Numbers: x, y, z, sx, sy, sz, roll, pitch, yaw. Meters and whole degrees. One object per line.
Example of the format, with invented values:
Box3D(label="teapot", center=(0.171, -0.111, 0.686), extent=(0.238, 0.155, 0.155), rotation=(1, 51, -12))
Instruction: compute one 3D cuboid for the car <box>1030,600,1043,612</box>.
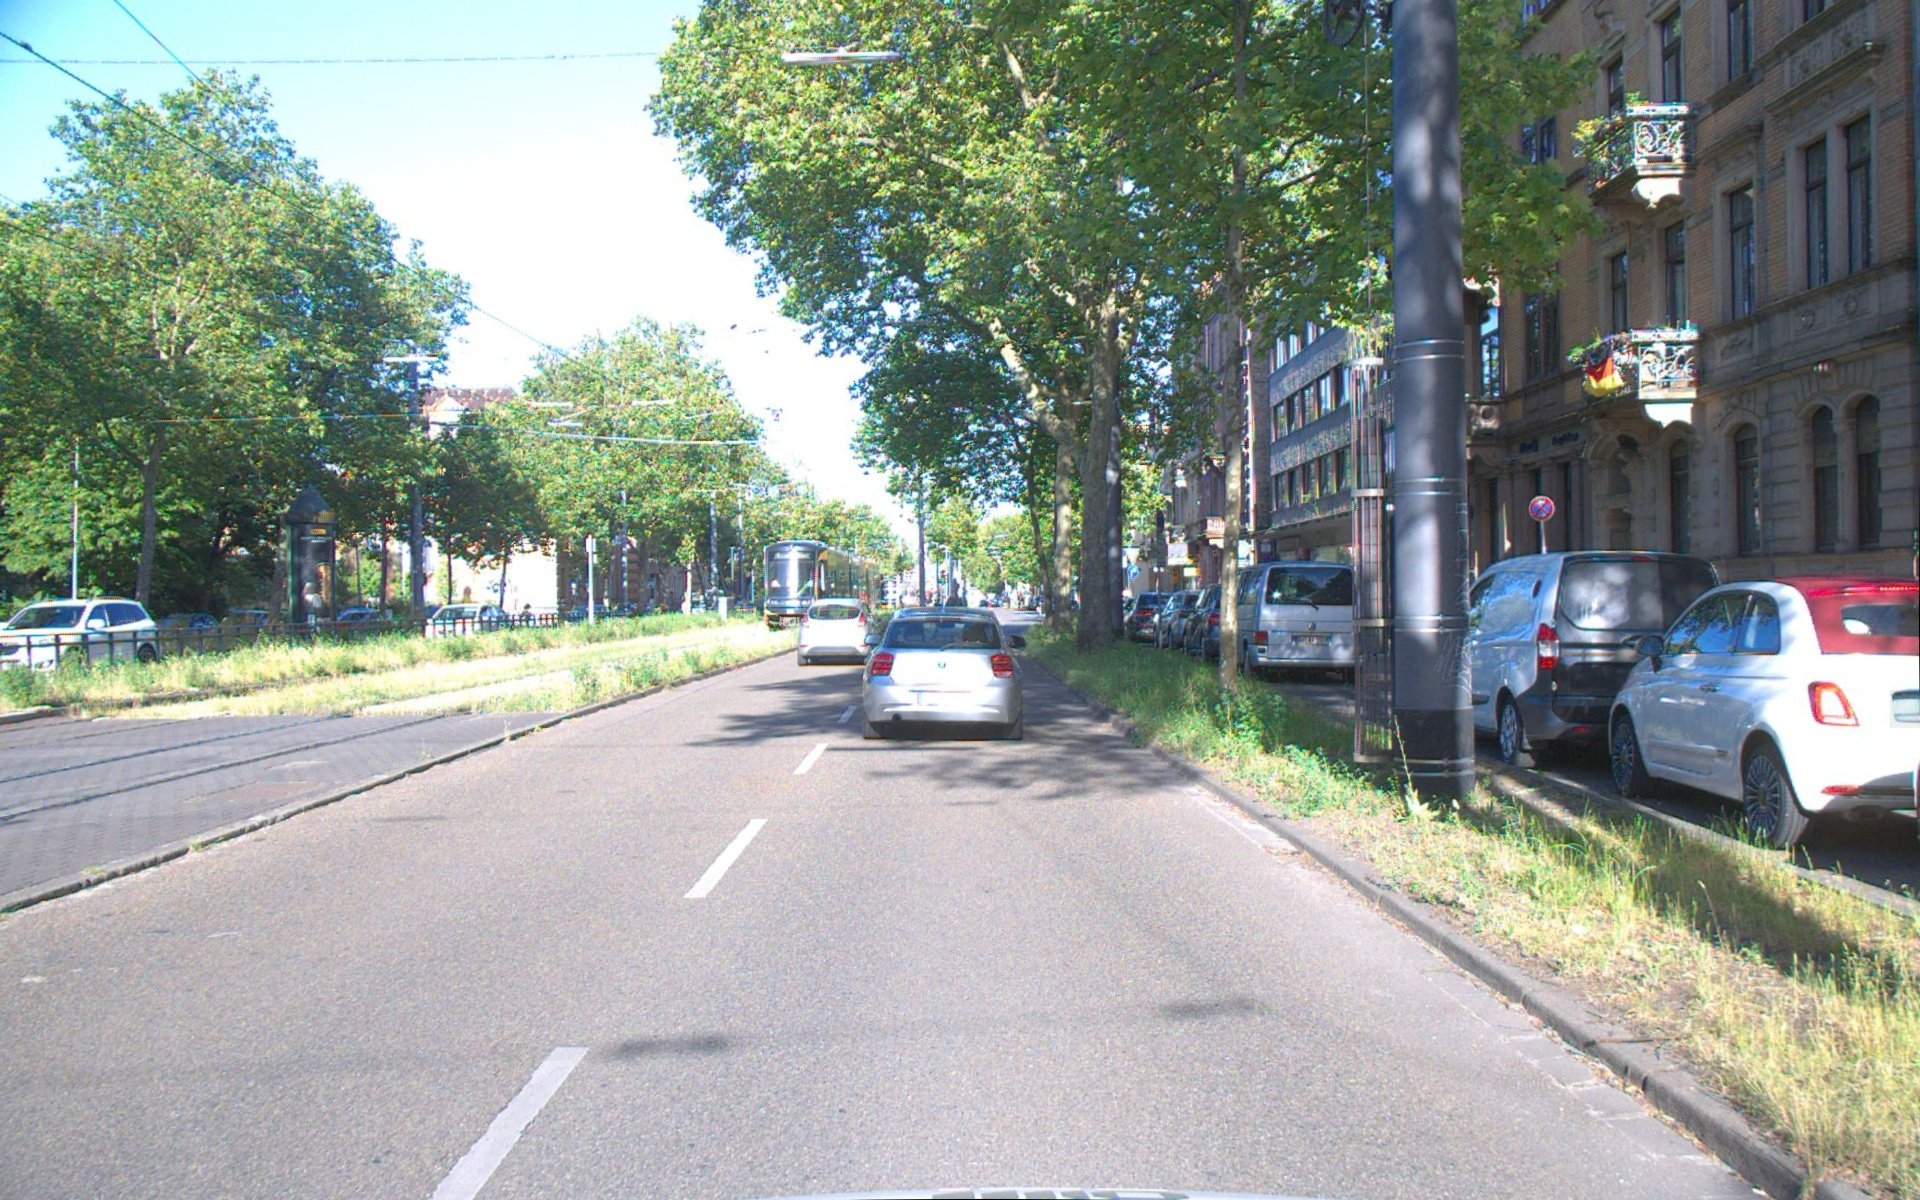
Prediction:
Box3D(label="car", center=(10.565, 0.800, 229.703), extent=(1.665, 1.561, 3.717), rotation=(1, 1, 1))

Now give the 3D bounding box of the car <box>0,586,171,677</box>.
Box3D(label="car", center=(-17.859, 0.568, 33.199), extent=(1.847, 1.648, 4.598), rotation=(1, 1, 0))

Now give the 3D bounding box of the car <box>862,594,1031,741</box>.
Box3D(label="car", center=(-0.138, 0.696, 19.121), extent=(1.726, 1.457, 4.000), rotation=(1, 1, 0))

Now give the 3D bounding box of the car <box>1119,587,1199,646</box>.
Box3D(label="car", center=(5.448, 0.424, 45.693), extent=(1.768, 1.516, 4.921), rotation=(1, 0, 2))

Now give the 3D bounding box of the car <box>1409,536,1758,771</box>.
Box3D(label="car", center=(5.138, 0.368, 14.219), extent=(1.591, 1.697, 4.143), rotation=(1, 1, 3))

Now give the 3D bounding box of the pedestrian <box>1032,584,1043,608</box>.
Box3D(label="pedestrian", center=(6.744, -0.333, 143.903), extent=(0.820, 2.049, 0.649), rotation=(1, 0, 8))

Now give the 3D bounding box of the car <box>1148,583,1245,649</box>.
Box3D(label="car", center=(5.654, 0.367, 40.047), extent=(1.643, 1.492, 4.669), rotation=(1, 0, 0))

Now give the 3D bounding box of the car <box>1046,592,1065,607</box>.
Box3D(label="car", center=(10.534, -0.042, 182.801), extent=(1.952, 1.535, 4.598), rotation=(1, -1, 1))

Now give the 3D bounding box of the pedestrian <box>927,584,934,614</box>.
Box3D(label="pedestrian", center=(-1.923, -0.089, 108.018), extent=(0.442, 1.936, 0.584), rotation=(-1, 0, -6))

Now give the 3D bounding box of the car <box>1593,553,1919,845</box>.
Box3D(label="car", center=(5.262, 0.500, 10.299), extent=(1.480, 1.506, 3.493), rotation=(1, 1, 4))

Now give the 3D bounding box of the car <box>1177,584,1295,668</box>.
Box3D(label="car", center=(5.402, 0.460, 32.870), extent=(1.669, 1.528, 4.358), rotation=(1, 0, 1))

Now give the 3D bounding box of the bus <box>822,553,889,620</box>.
Box3D(label="bus", center=(-5.793, -0.755, 93.798), extent=(2.810, 3.504, 11.612), rotation=(-1, 0, 1))

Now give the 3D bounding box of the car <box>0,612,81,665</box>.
Box3D(label="car", center=(-26.187, 1.039, 45.993), extent=(1.536, 1.335, 3.504), rotation=(1, 1, 1))

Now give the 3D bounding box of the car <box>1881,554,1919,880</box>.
Box3D(label="car", center=(5.150, 0.573, 6.084), extent=(1.529, 1.511, 3.788), rotation=(1, 1, 3))

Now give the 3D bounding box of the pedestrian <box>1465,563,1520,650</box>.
Box3D(label="pedestrian", center=(11.592, 0.145, 36.012), extent=(0.979, 1.872, 0.715), rotation=(-1, 0, 3))

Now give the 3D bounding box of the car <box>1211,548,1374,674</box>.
Box3D(label="car", center=(5.329, 0.130, 27.113), extent=(1.826, 1.847, 4.801), rotation=(1, 1, 2))

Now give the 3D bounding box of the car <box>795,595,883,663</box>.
Box3D(label="car", center=(-2.692, 0.619, 37.392), extent=(1.613, 1.386, 3.760), rotation=(1, 1, 1))

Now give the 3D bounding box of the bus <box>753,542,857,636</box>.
Box3D(label="bus", center=(-6.273, -0.448, 69.031), extent=(2.810, 3.504, 13.219), rotation=(-1, 0, 1))

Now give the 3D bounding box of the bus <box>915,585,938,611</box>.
Box3D(label="bus", center=(-4.871, -0.378, 244.354), extent=(2.693, 3.689, 18.850), rotation=(0, 0, 1))

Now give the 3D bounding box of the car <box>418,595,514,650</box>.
Box3D(label="car", center=(-14.955, 0.650, 50.240), extent=(1.807, 1.556, 3.874), rotation=(1, 1, -1))

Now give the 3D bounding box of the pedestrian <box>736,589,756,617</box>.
Box3D(label="pedestrian", center=(-12.985, 0.187, 100.530), extent=(1.154, 1.672, 0.891), rotation=(-1, -1, -7))

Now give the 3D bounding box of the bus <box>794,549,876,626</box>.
Box3D(label="bus", center=(-6.031, -0.608, 81.791), extent=(2.810, 3.504, 12.216), rotation=(-1, 0, 1))
